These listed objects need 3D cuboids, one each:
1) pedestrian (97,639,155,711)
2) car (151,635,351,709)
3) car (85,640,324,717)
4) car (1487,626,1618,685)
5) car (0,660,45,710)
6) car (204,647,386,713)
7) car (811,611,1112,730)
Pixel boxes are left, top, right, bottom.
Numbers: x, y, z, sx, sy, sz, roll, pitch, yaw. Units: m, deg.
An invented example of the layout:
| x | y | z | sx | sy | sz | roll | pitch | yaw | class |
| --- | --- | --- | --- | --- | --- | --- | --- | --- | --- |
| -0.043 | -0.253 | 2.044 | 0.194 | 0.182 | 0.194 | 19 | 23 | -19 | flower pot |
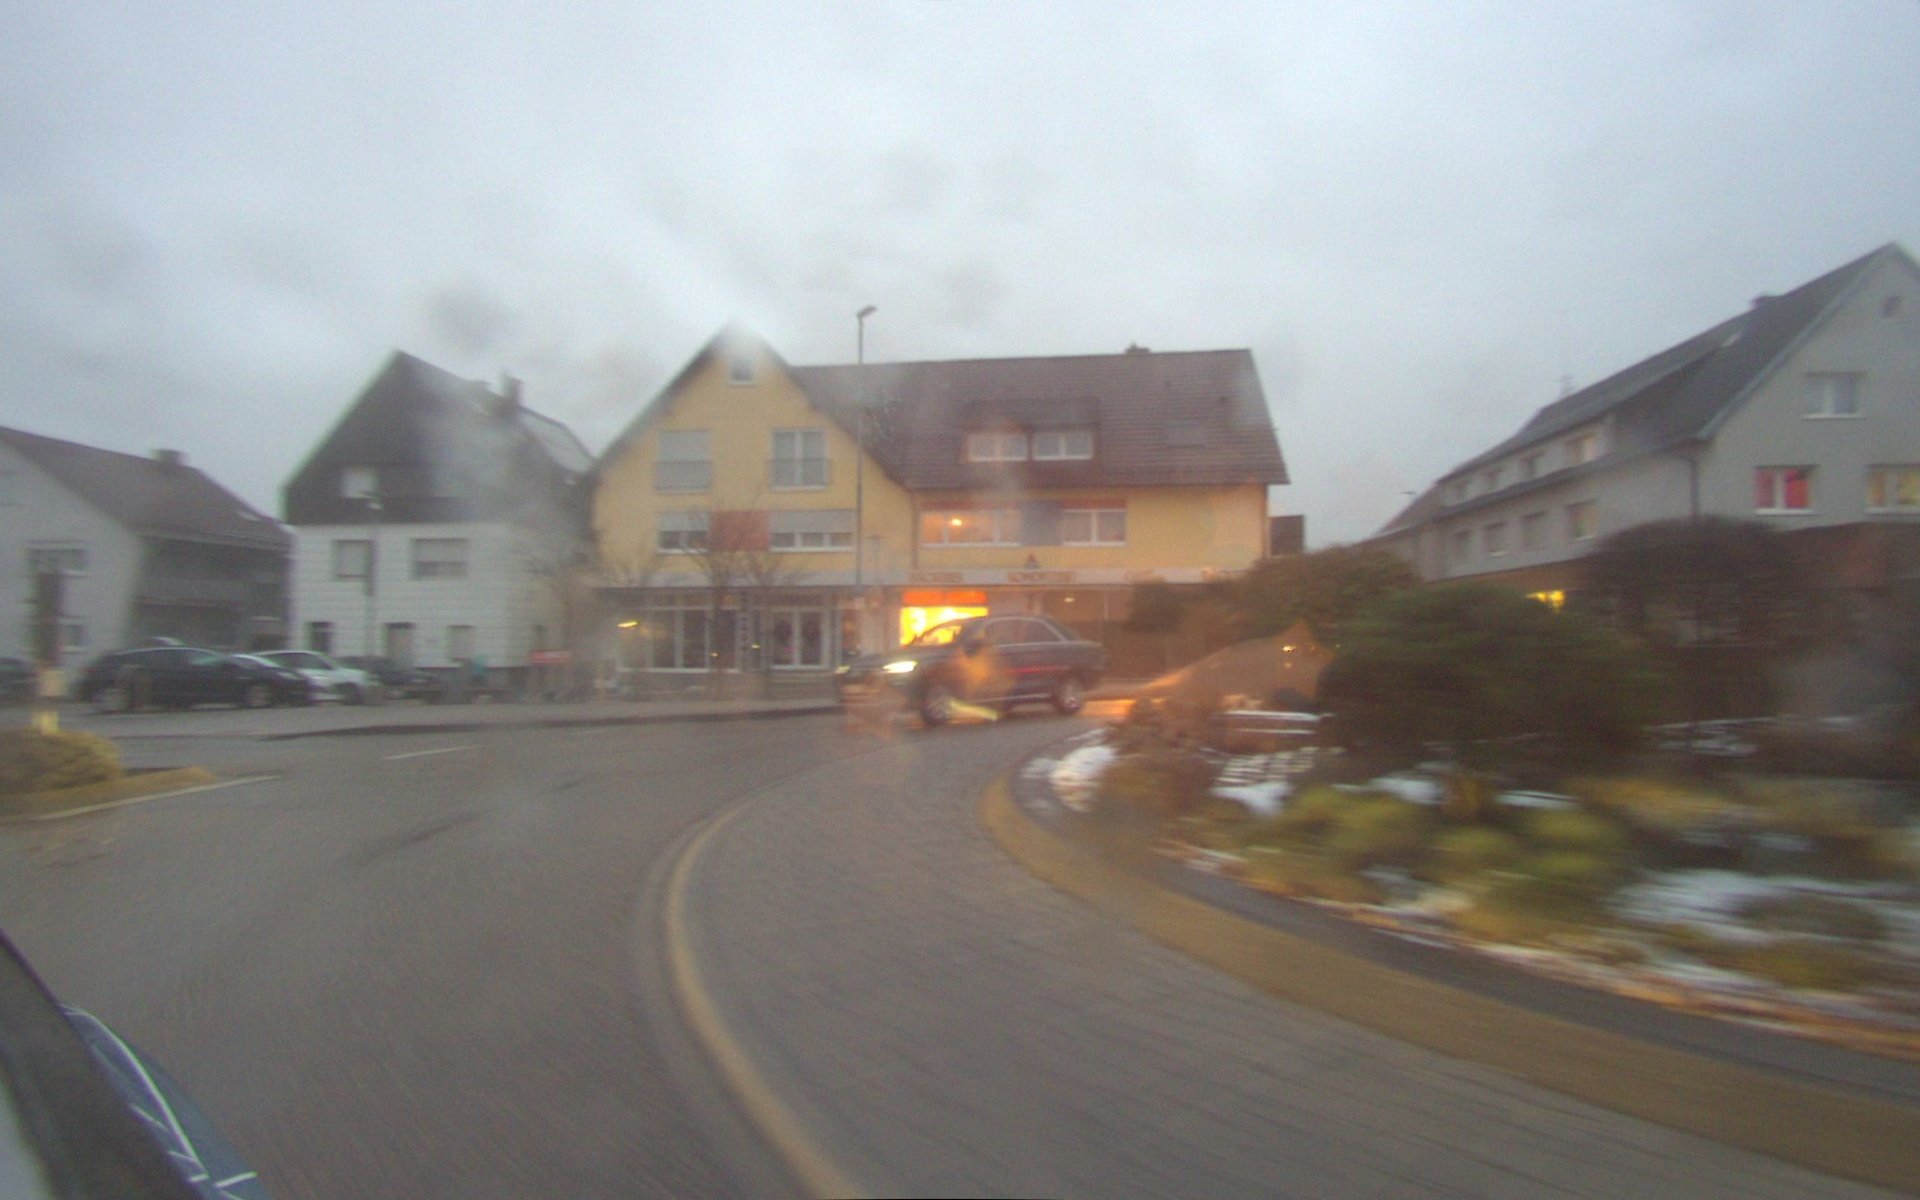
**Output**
| x | y | z | sx | sy | sz | roll | pitch | yaw | class |
| --- | --- | --- | --- | --- | --- | --- | --- | --- | --- |
| -20.601 | 1.855 | 25.010 | 0.827 | 1.725 | 0.726 | -1 | -4 | -13 | pedestrian |
| -17.535 | 1.791 | 25.282 | 3.829 | 1.683 | 1.846 | 0 | -5 | -27 | car |
| -16.839 | 1.703 | 22.865 | 4.109 | 1.543 | 1.920 | 1 | -3 | -31 | car |
| 17.856 | 1.644 | 30.737 | 1.628 | 1.649 | 3.901 | -1 | -2 | 0 | car |
| -33.657 | 2.890 | 34.162 | 4.038 | 1.581 | 1.779 | -1 | -2 | 2 | car |
| -18.207 | 2.199 | 27.929 | 3.930 | 1.644 | 1.770 | 0 | -5 | -22 | car |
| 0.124 | 1.030 | 16.098 | 4.558 | 1.605 | 1.957 | 0 | -3 | -39 | car |
